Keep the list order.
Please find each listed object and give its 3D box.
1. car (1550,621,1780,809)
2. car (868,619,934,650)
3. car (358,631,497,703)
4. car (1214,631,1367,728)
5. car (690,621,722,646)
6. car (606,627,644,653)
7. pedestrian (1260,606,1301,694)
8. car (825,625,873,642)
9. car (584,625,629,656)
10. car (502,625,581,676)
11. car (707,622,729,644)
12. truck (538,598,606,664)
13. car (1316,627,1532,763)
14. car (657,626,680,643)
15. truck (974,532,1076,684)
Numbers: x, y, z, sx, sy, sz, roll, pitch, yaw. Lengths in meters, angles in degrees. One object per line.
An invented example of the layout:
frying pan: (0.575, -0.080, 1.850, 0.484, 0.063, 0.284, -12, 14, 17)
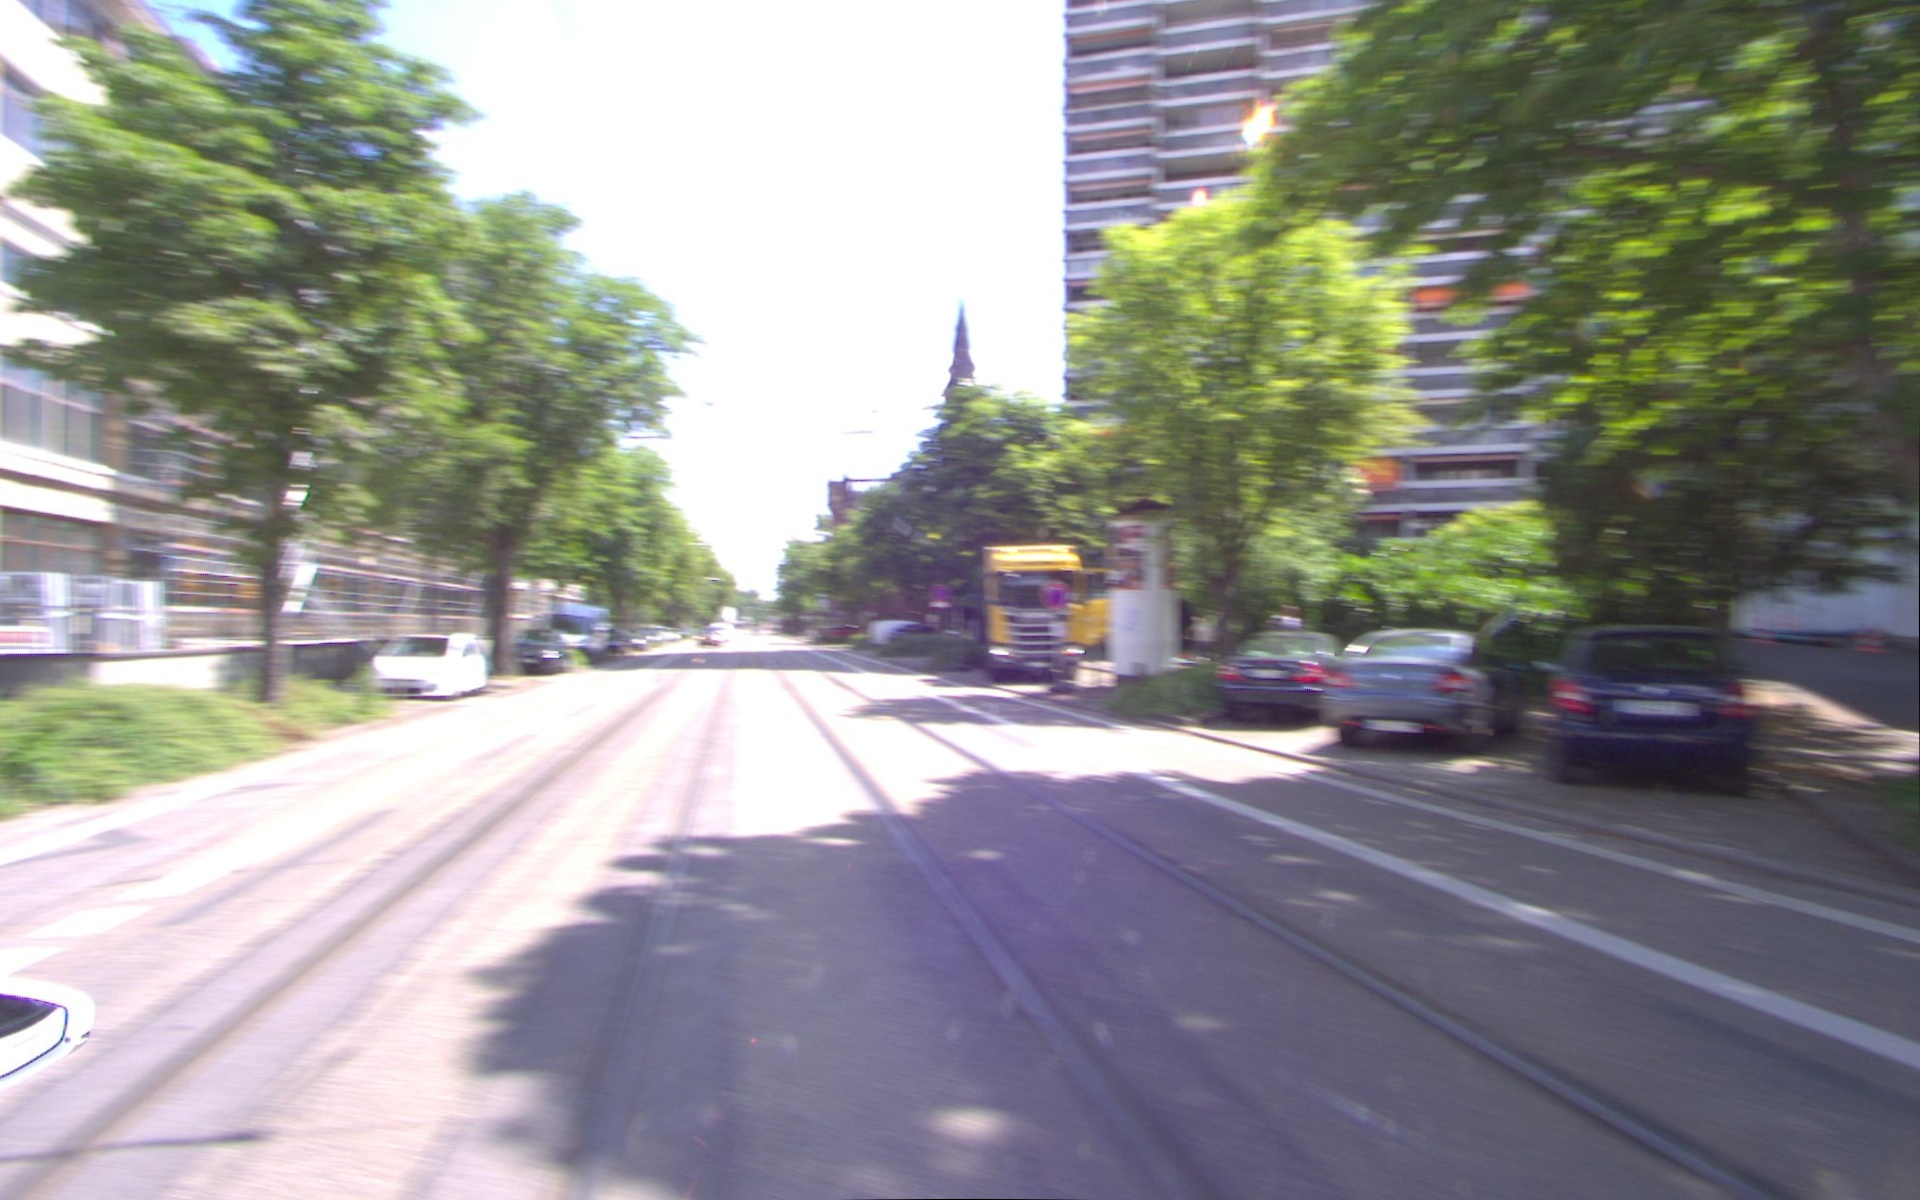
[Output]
car: (6.975, 1.014, 10.225, 1.626, 1.536, 3.560, 0, -2, 31)
car: (-3.578, 2.106, 61.095, 1.813, 1.817, 3.971, 0, -2, 40)
car: (-11.729, 1.439, 22.314, 1.592, 1.458, 3.582, 1, -2, -8)
car: (5.578, 1.223, 16.591, 1.606, 1.390, 4.005, 0, -2, 31)
car: (-17.957, 2.382, 70.989, 1.963, 1.710, 3.997, 0, -1, -11)
car: (-20.448, 2.447, 61.176, 1.964, 1.505, 3.994, 1, -1, -16)
pedestrian: (7.000, 1.084, 21.902, 0.701, 1.899, 0.577, 1, -1, 1)
car: (-10.267, 3.089, 92.876, 3.949, 1.505, 1.987, 2, -2, -34)
car: (-18.030, 2.038, 51.199, 1.965, 1.474, 3.993, 1, -1, -17)
car: (-14.221, 1.678, 34.231, 1.964, 1.627, 3.995, 2, -2, -16)
car: (-24.005, 3.259, 99.456, 1.963, 2.039, 3.997, 1, -1, -12)
truck: (-16.017, 1.263, 41.578, 1.990, 2.517, 5.865, 1, -1, -15)
car: (6.194, 1.111, 13.120, 1.796, 1.481, 3.997, 0, -2, 37)
car: (-27.139, 3.200, 93.373, 1.794, 1.594, 3.997, 1, -1, -12)
truck: (2.055, 0.361, 31.599, 2.697, 4.057, 9.748, 0, -2, 4)
